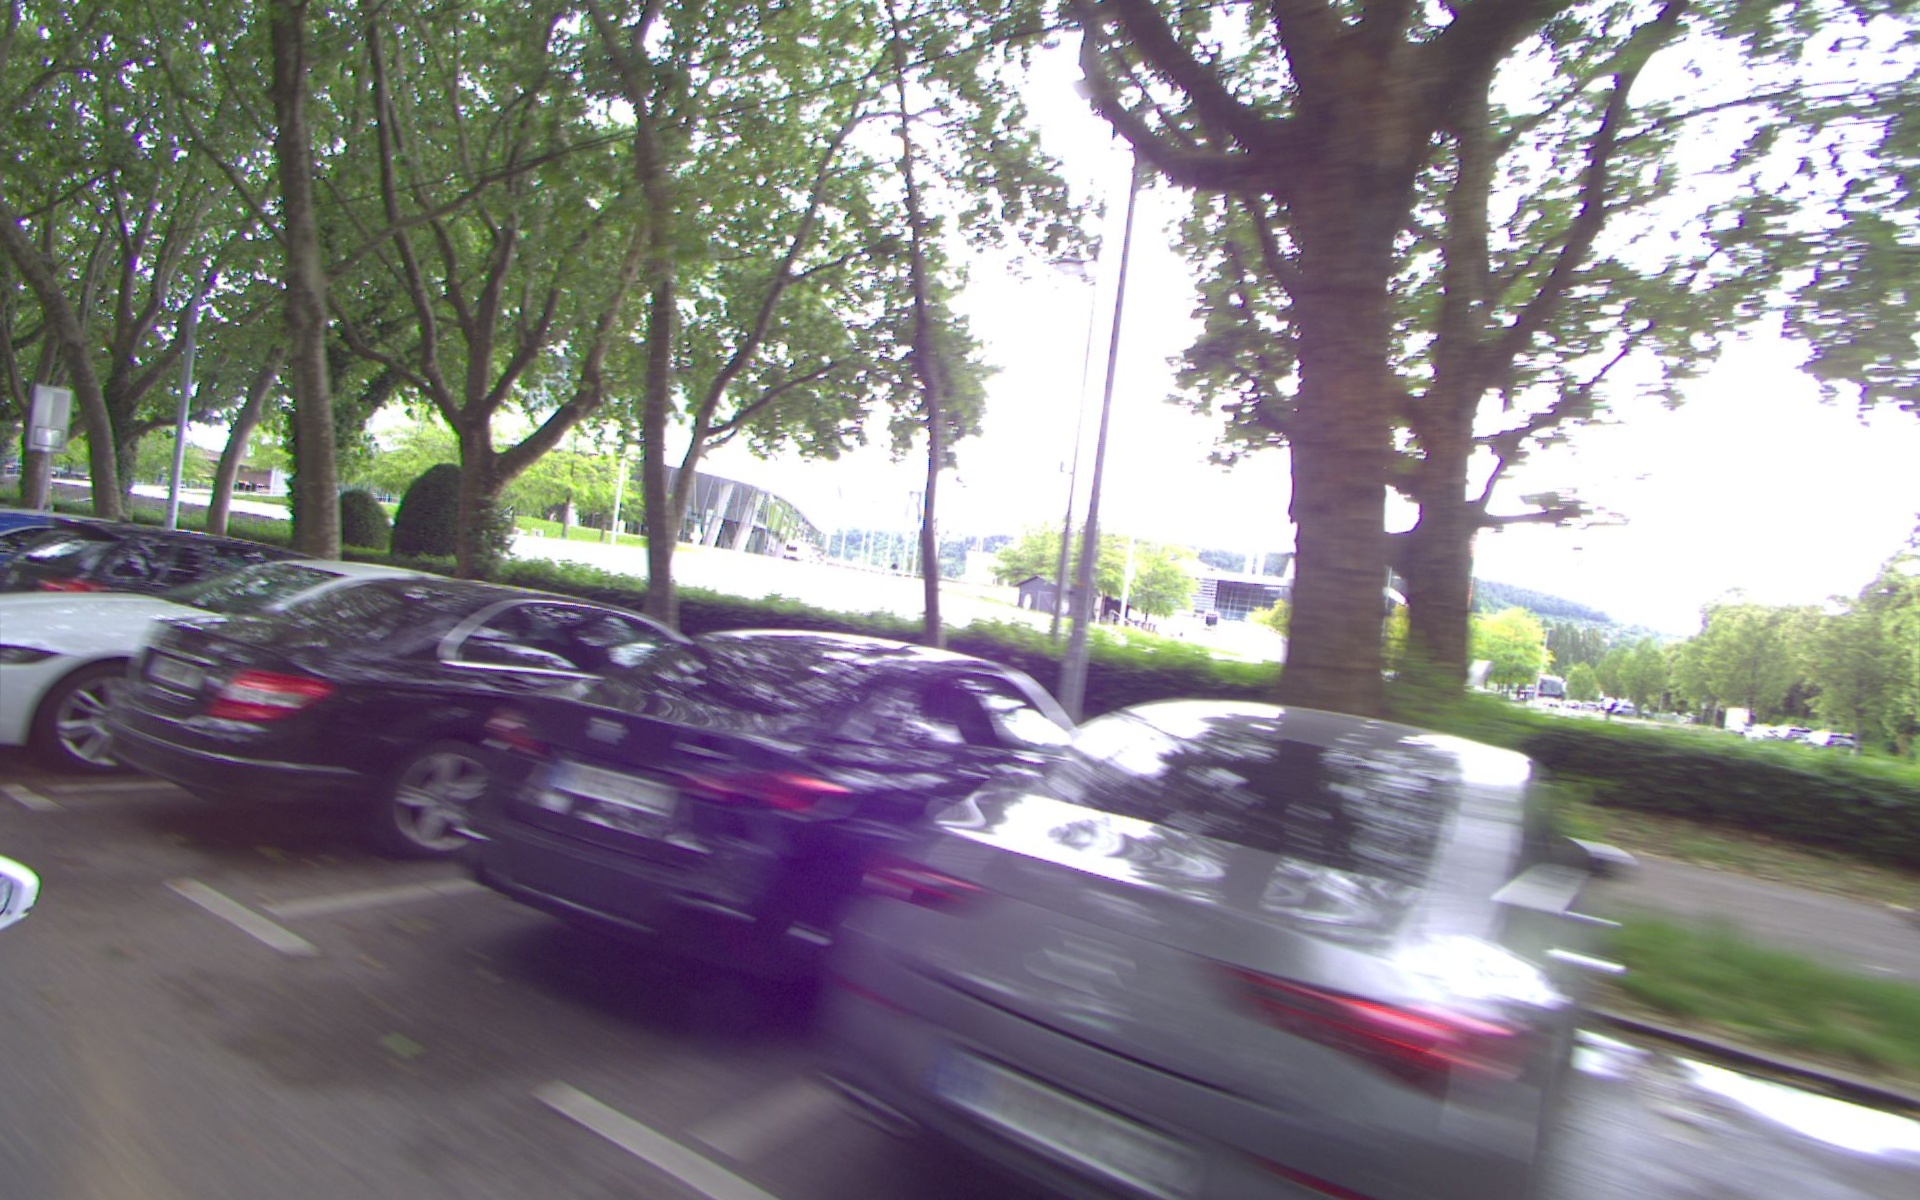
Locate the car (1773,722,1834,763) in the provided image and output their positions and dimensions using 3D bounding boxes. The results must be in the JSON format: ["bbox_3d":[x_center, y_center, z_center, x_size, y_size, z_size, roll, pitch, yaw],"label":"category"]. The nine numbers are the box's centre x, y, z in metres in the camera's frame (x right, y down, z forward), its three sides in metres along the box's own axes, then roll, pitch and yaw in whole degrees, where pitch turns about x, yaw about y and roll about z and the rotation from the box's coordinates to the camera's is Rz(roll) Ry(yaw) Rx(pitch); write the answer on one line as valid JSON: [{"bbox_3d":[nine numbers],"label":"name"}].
[{"bbox_3d":[49.873,8.380,59.565,1.967,2.037,3.995,7,-2,32],"label":"car"}]

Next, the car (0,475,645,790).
[{"bbox_3d":[-4.881,0.272,7.412,2.020,1.641,4.534,8,-2,31],"label":"car"}]

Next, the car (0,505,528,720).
[{"bbox_3d":[-6.495,0.230,9.512,1.754,1.463,4.025,8,-2,31],"label":"car"}]

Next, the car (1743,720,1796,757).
[{"bbox_3d":[52.584,8.963,65.404,1.967,2.037,3.995,7,-2,32],"label":"car"}]

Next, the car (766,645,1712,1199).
[{"bbox_3d":[1.565,1.164,3.855,1.691,1.433,4.595,8,-2,34],"label":"car"}]

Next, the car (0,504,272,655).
[{"bbox_3d":[-10.999,-0.326,11.961,1.754,1.472,4.209,8,-2,28],"label":"car"}]

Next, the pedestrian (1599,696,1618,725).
[{"bbox_3d":[40.393,6.878,62.655,0.686,1.663,0.725,7,-1,24],"label":"pedestrian"}]

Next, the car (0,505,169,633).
[{"bbox_3d":[-13.127,-0.585,12.917,1.754,1.472,4.209,8,-2,28],"label":"car"}]

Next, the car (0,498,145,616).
[{"bbox_3d":[-14.822,-0.825,14.586,1.754,1.535,4.209,8,-2,28],"label":"car"}]

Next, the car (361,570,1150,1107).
[{"bbox_3d":[-0.520,0.900,5.279,1.877,1.433,4.031,8,-2,26],"label":"car"}]

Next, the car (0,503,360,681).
[{"bbox_3d":[-8.795,-0.093,10.344,1.880,1.463,4.030,8,-2,25],"label":"car"}]

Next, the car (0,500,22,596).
[{"bbox_3d":[-17.340,-1.168,15.179,1.755,1.535,4.208,7,-4,30],"label":"car"}]

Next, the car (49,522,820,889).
[{"bbox_3d":[-2.828,0.609,6.295,1.690,1.433,3.839,8,-2,31],"label":"car"}]

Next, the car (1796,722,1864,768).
[{"bbox_3d":[47.049,7.809,54.491,1.967,2.037,3.995,7,-2,32],"label":"car"}]

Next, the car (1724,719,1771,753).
[{"bbox_3d":[55.445,9.555,70.900,1.967,2.037,3.995,7,-2,32],"label":"car"}]

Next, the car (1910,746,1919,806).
[{"bbox_3d":[24.320,4.437,23.604,1.754,1.479,4.285,7,0,29],"label":"car"}]

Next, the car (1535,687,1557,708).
[{"bbox_3d":[69.242,11.531,118.826,1.968,2.037,3.993,7,-2,33],"label":"car"}]

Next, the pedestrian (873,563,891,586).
[{"bbox_3d":[-7.484,-2.474,96.503,1.094,2.037,1.159,6,-1,42],"label":"pedestrian"}]
